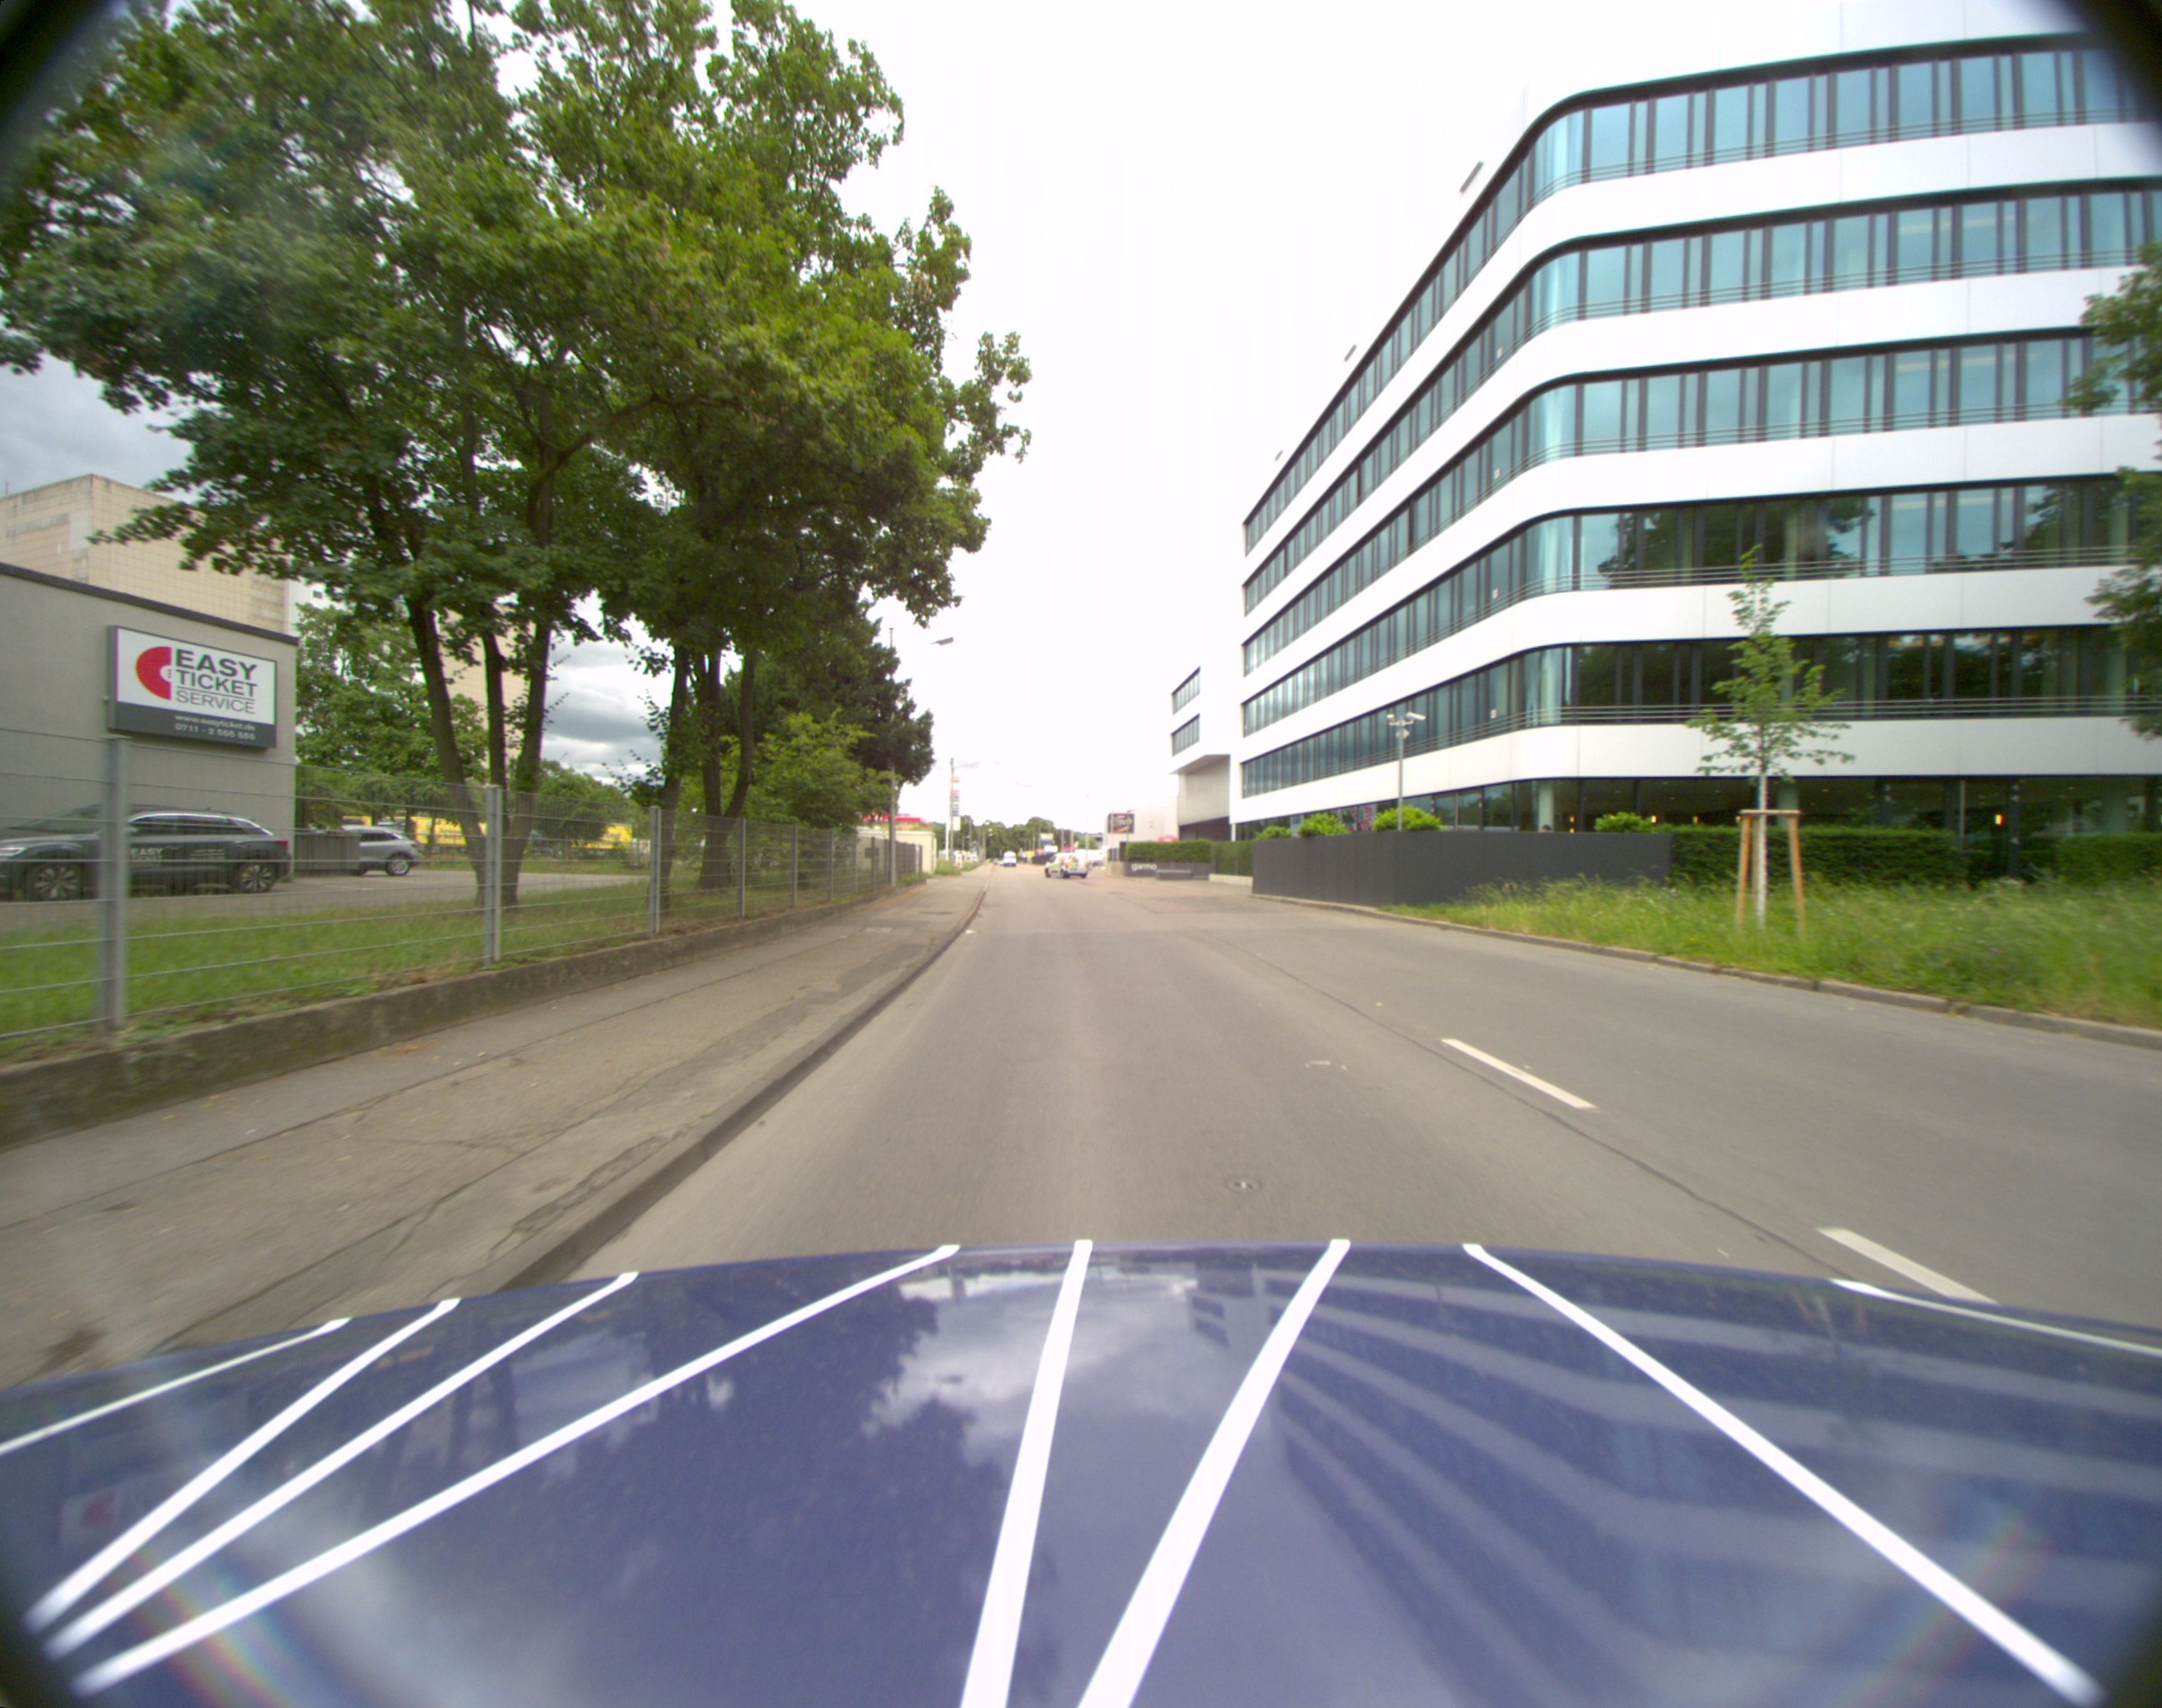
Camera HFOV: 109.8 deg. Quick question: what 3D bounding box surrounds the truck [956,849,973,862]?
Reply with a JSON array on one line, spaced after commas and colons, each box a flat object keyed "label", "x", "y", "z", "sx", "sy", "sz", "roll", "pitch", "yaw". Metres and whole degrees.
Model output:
[{"label": "truck", "x": -34.828, "y": 0.540, "z": 227.253, "sx": 2.834, "sy": 3.689, "sz": 9.085, "roll": 1, "pitch": 0, "yaw": -24}]

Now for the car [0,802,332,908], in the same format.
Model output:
[{"label": "car", "x": -16.655, "y": 0.014, "z": 13.465, "sx": 1.997, "sy": 1.557, "sz": 4.445, "roll": 3, "pitch": -1, "yaw": 7}]

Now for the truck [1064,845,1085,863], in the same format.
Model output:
[{"label": "truck", "x": -1.577, "y": 0.006, "z": 190.543, "sx": 4.881, "sy": 4.108, "sz": 3.047, "roll": 3, "pitch": 0, "yaw": -5}]

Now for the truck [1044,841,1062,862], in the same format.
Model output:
[{"label": "truck", "x": -5.914, "y": -0.524, "z": 159.746, "sx": 3.368, "sy": 4.135, "sz": 5.626, "roll": 3, "pitch": 0, "yaw": -2}]

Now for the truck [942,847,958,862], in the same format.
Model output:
[{"label": "truck", "x": -35.375, "y": 0.146, "z": 205.287, "sx": 2.878, "sy": 3.989, "sz": 6.744, "roll": 2, "pitch": -1, "yaw": -21}]

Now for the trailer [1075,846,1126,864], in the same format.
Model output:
[{"label": "trailer", "x": 4.881, "y": 0.273, "z": 189.863, "sx": 12.025, "sy": 4.108, "sz": 3.052, "roll": 2, "pitch": 0, "yaw": 12}]

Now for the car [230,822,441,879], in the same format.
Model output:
[{"label": "car", "x": -23.519, "y": -0.049, "z": 24.256, "sx": 1.997, "sy": 1.602, "sz": 4.446, "roll": 2, "pitch": -1, "yaw": 10}]

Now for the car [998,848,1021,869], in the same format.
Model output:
[{"label": "car", "x": -12.418, "y": 0.832, "z": 132.146, "sx": 3.341, "sy": 3.586, "sz": 8.663, "roll": 1, "pitch": -1, "yaw": -9}]

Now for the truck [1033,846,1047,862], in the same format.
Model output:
[{"label": "truck", "x": -10.539, "y": 0.002, "z": 195.338, "sx": 3.023, "sy": 3.826, "sz": 5.667, "roll": 3, "pitch": 0, "yaw": -6}]

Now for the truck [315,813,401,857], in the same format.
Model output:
[{"label": "truck", "x": -67.473, "y": -1.699, "z": 71.108, "sx": 2.699, "sy": 3.892, "sz": 6.037, "roll": 1, "pitch": 0, "yaw": -7}]

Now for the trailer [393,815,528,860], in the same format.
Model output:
[{"label": "trailer", "x": -64.604, "y": -1.557, "z": 79.979, "sx": 3.030, "sy": 4.235, "sz": 15.715, "roll": 1, "pitch": 0, "yaw": -7}]

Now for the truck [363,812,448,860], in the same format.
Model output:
[{"label": "truck", "x": -63.599, "y": -1.603, "z": 71.783, "sx": 3.053, "sy": 4.237, "sz": 6.037, "roll": 1, "pitch": 0, "yaw": -7}]

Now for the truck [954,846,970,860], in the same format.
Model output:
[{"label": "truck", "x": -32.870, "y": -0.233, "z": 209.778, "sx": 2.878, "sy": 3.608, "sz": 6.744, "roll": 2, "pitch": -1, "yaw": -21}]

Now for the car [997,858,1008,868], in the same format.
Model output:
[{"label": "car", "x": -15.425, "y": 1.804, "z": 149.385, "sx": 1.714, "sy": 2.001, "sz": 3.886, "roll": 1, "pitch": -1, "yaw": -11}]

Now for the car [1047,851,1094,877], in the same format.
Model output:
[{"label": "car", "x": -0.771, "y": 0.686, "z": 54.192, "sx": 1.816, "sy": 1.754, "sz": 4.197, "roll": -1, "pitch": 0, "yaw": -24}]

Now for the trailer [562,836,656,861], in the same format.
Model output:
[{"label": "trailer", "x": -83.520, "y": -1.031, "z": 134.231, "sx": 18.456, "sy": 4.148, "sz": 3.649, "roll": 1, "pitch": 0, "yaw": 21}]

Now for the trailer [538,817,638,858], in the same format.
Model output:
[{"label": "trailer", "x": -52.526, "y": -1.602, "z": 81.714, "sx": 3.009, "sy": 3.892, "sz": 14.293, "roll": 1, "pitch": 0, "yaw": -7}]

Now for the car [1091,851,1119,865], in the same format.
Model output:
[{"label": "car", "x": 4.885, "y": 0.824, "z": 157.061, "sx": 5.424, "sy": 2.714, "sz": 2.244, "roll": -1, "pitch": -1, "yaw": 13}]

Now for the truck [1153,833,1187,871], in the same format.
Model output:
[{"label": "truck", "x": 9.960, "y": -0.183, "z": 84.234, "sx": 2.746, "sy": 4.007, "sz": 7.101, "roll": 0, "pitch": -1, "yaw": 14}]

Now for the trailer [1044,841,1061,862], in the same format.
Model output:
[{"label": "trailer", "x": -6.204, "y": -0.490, "z": 166.737, "sx": 3.368, "sy": 4.135, "sz": 13.846, "roll": 3, "pitch": -1, "yaw": -2}]
